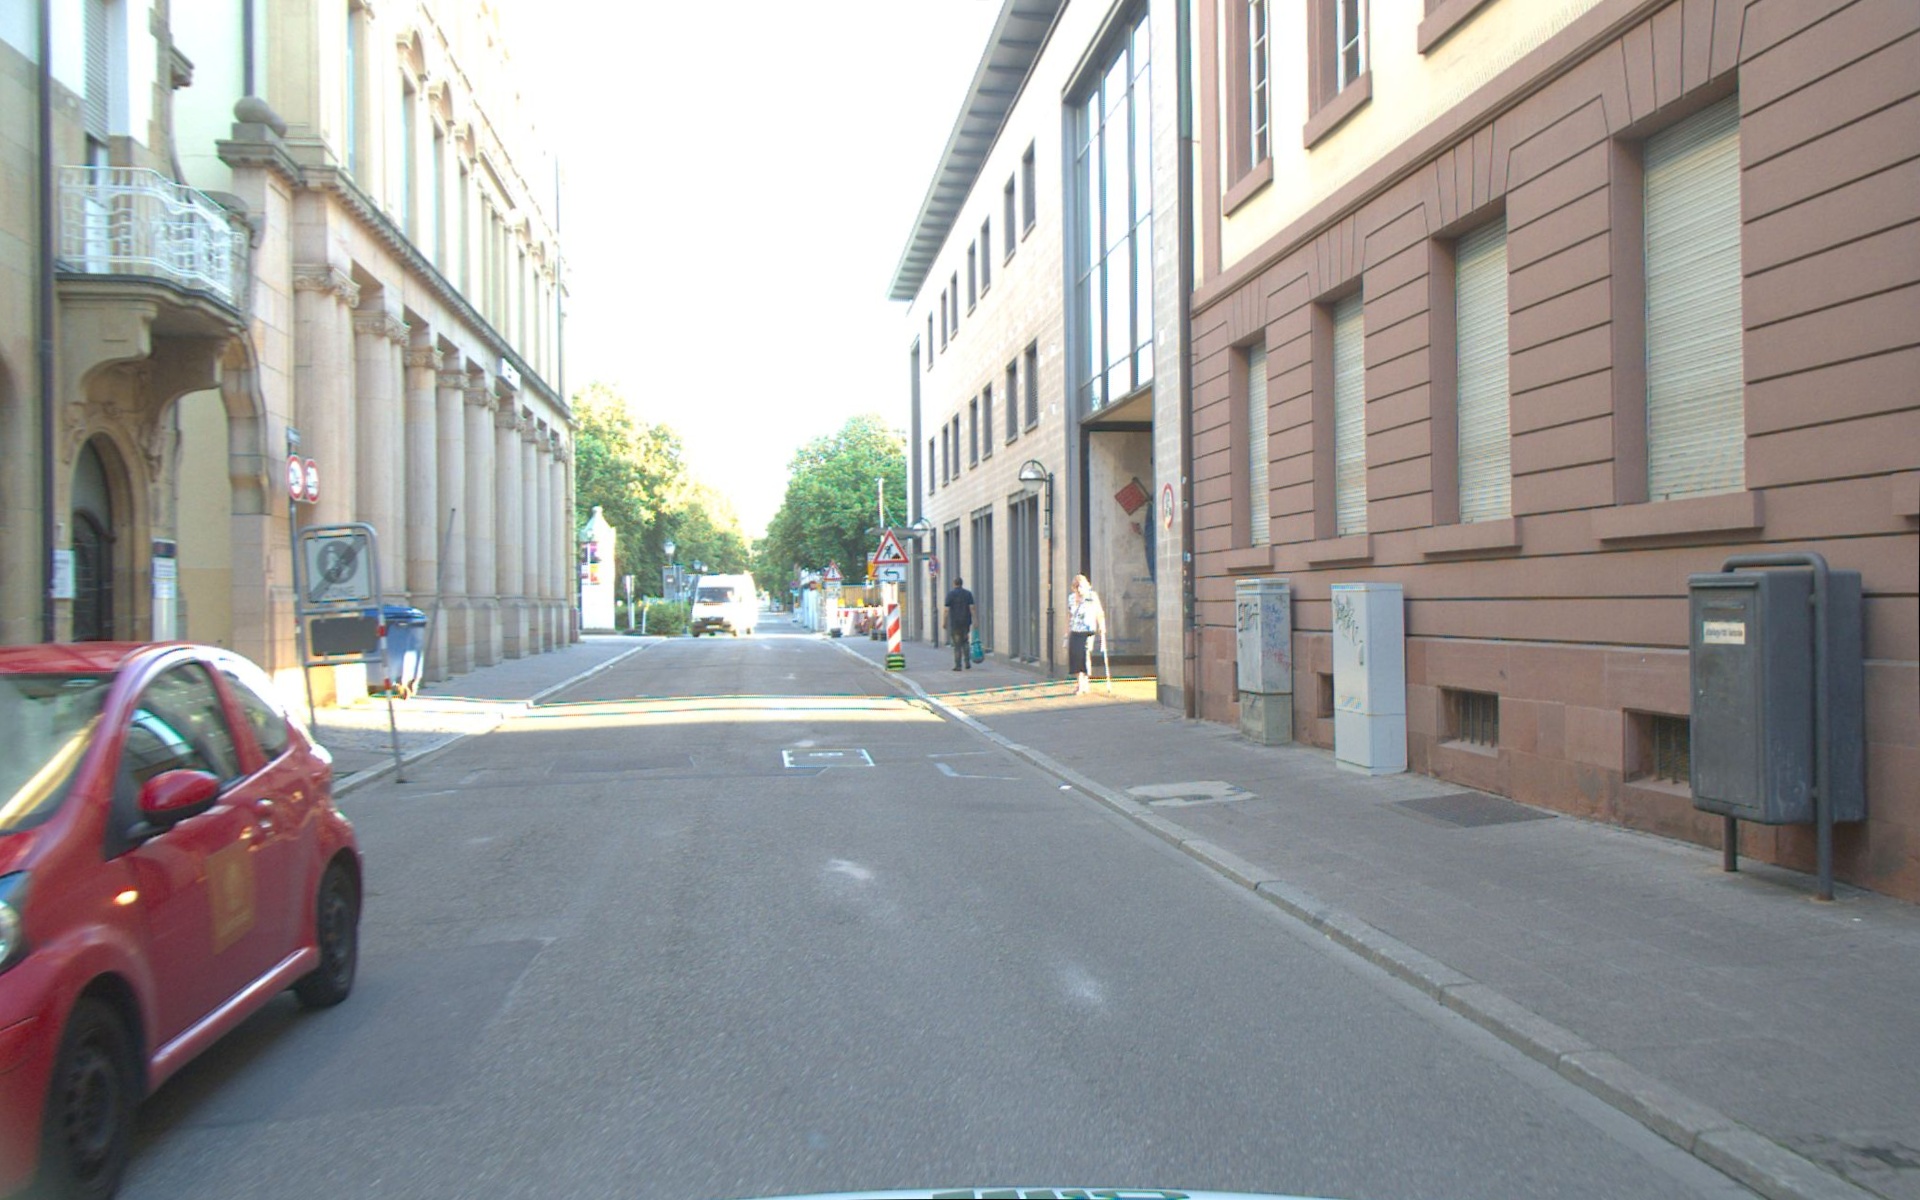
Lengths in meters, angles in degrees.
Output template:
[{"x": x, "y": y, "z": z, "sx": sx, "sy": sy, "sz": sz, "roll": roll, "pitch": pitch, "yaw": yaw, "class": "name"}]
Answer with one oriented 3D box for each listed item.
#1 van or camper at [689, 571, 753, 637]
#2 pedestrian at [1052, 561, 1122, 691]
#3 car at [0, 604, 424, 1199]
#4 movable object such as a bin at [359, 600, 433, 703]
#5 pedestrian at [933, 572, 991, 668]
[{"x": -9.966, "y": 0.158, "z": 69.315, "sx": 2.175, "sy": 2.630, "sz": 6.366, "roll": -1, "pitch": 0, "yaw": -4, "class": "van or camper"}, {"x": 1.865, "y": 0.373, "z": 24.384, "sx": 0.828, "sy": 1.834, "sz": 0.896, "roll": -3, "pitch": 0, "yaw": -3, "class": "pedestrian"}, {"x": -3.045, "y": 0.838, "z": 5.335, "sx": 1.626, "sy": 1.495, "sz": 3.926, "roll": -4, "pitch": 0, "yaw": -6, "class": "car"}, {"x": -8.645, "y": 0.772, "z": 25.413, "sx": 0.813, "sy": 1.529, "sz": 1.289, "roll": 0, "pitch": 0, "yaw": -6, "class": "movable object such as a bin"}, {"x": 0.039, "y": 0.400, "z": 32.700, "sx": 0.982, "sy": 1.835, "sz": 0.880, "roll": -2, "pitch": -1, "yaw": -8, "class": "pedestrian"}]
